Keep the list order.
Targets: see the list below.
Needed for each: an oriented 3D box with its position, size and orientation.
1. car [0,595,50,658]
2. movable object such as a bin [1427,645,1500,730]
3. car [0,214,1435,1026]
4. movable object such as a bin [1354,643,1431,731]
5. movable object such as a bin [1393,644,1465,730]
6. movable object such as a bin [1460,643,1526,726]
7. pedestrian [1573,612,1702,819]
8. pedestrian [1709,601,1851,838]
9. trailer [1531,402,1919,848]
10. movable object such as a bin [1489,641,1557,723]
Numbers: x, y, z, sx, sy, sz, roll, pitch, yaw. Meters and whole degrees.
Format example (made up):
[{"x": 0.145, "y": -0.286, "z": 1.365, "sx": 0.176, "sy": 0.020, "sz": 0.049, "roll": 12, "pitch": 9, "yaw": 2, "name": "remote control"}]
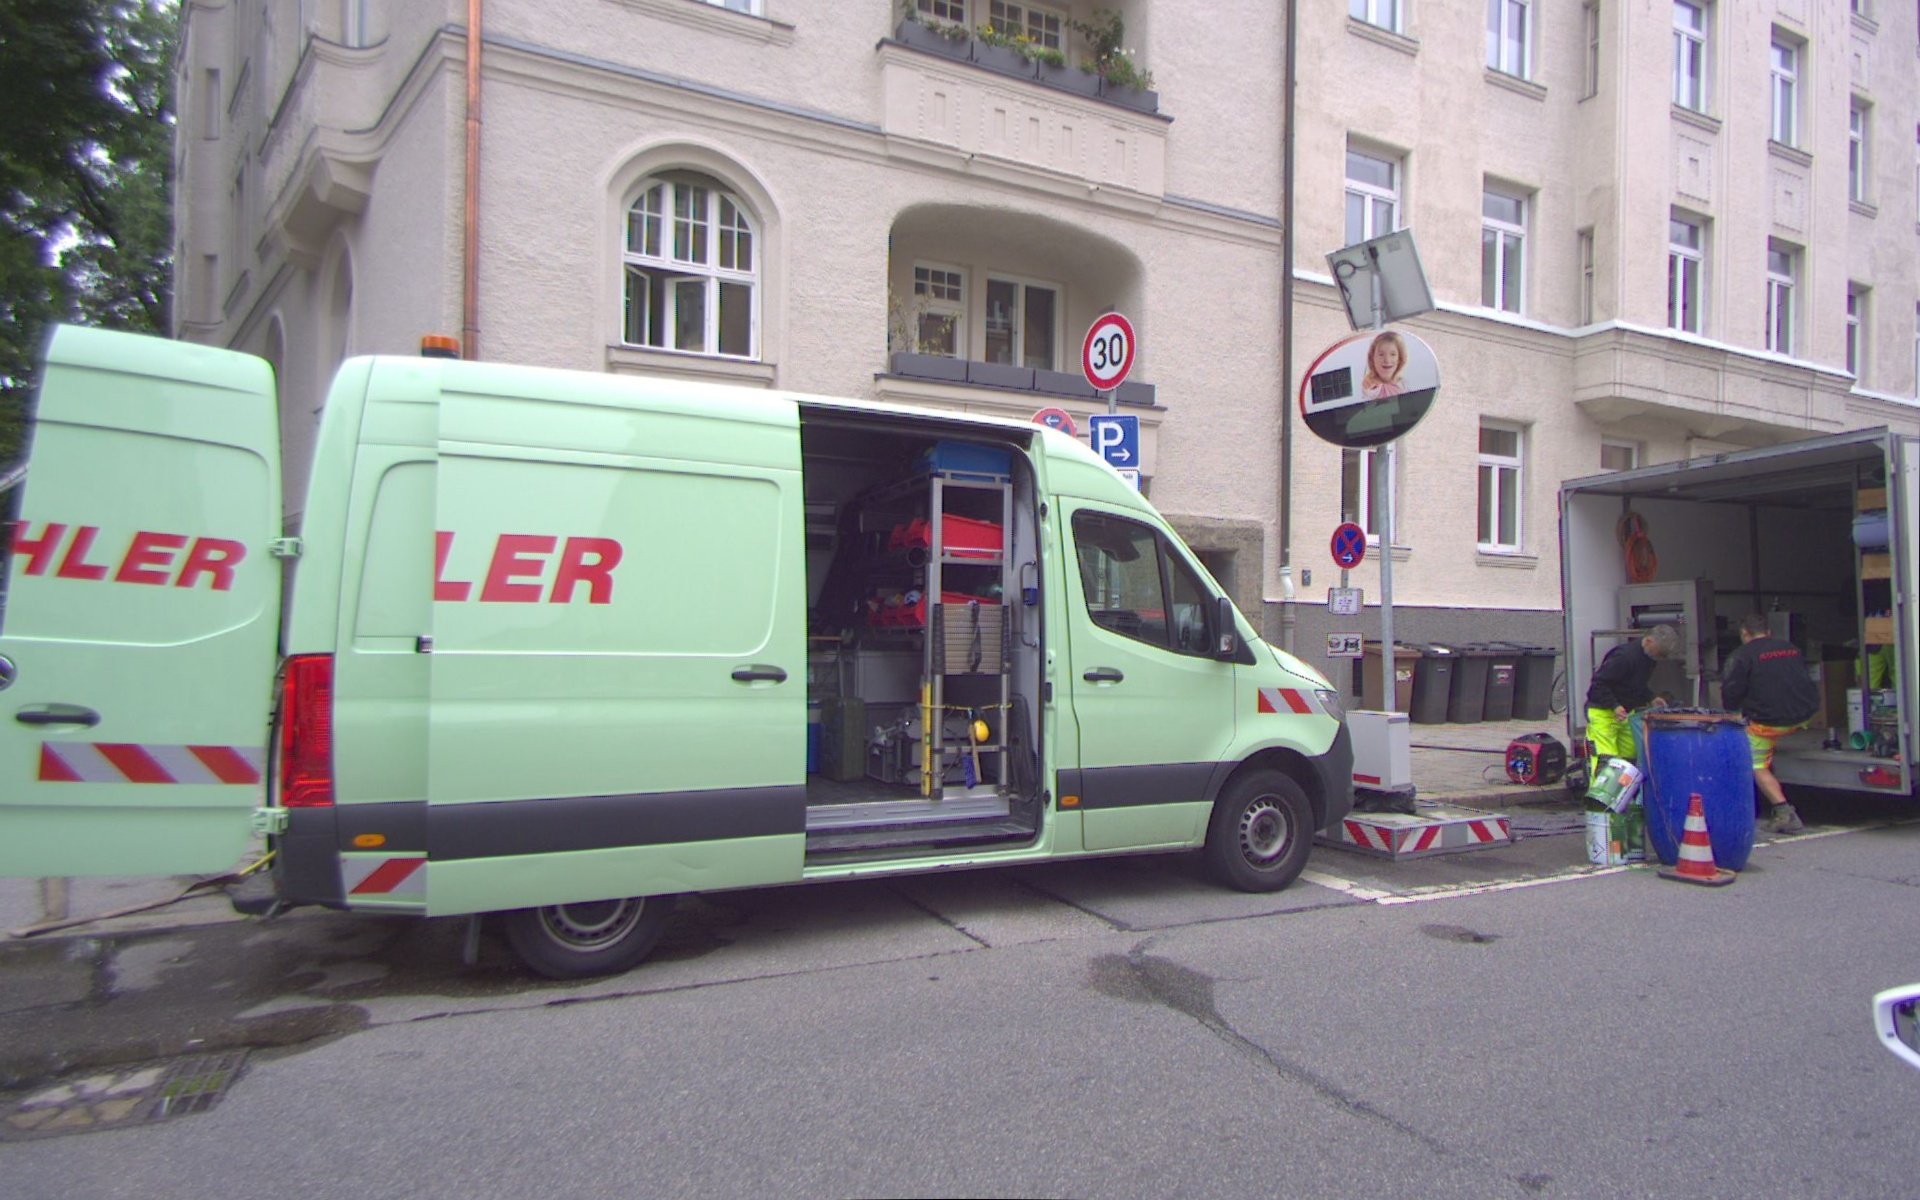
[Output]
[{"x": -26.909, "y": 0.696, "z": 26.452, "sx": 1.636, "sy": 1.625, "sz": 4.196, "roll": 3, "pitch": 1, "yaw": 40, "name": "car"}, {"x": 7.067, "y": 1.206, "z": 14.102, "sx": 0.629, "sy": 1.143, "sz": 0.675, "roll": 1, "pitch": -2, "yaw": -22, "name": "movable object such as a bin"}, {"x": -0.672, "y": 0.129, "z": 5.516, "sx": 6.701, "sy": 2.606, "sz": 2.135, "roll": 1, "pitch": -1, "yaw": -25, "name": "car"}, {"x": 5.861, "y": 1.168, "z": 13.614, "sx": 0.720, "sy": 1.143, "sz": 0.647, "roll": 1, "pitch": -2, "yaw": -22, "name": "movable object such as a bin"}, {"x": 6.481, "y": 1.188, "z": 13.888, "sx": 0.629, "sy": 1.143, "sz": 0.647, "roll": 1, "pitch": -2, "yaw": -22, "name": "movable object such as a bin"}, {"x": 7.601, "y": 1.187, "z": 14.335, "sx": 0.546, "sy": 1.143, "sz": 0.647, "roll": 1, "pitch": -2, "yaw": -22, "name": "movable object such as a bin"}, {"x": 5.574, "y": 0.906, "z": 8.273, "sx": 0.632, "sy": 1.601, "sz": 0.754, "roll": 2, "pitch": -2, "yaw": -42, "name": "pedestrian"}, {"x": 6.123, "y": 0.846, "z": 7.508, "sx": 0.633, "sy": 1.652, "sz": 0.754, "roll": 2, "pitch": -2, "yaw": -44, "name": "pedestrian"}, {"x": 9.350, "y": 0.275, "z": 9.520, "sx": 7.491, "sy": 3.007, "sz": 2.799, "roll": 0, "pitch": -4, "yaw": -23, "name": "trailer"}, {"x": 8.133, "y": 1.174, "z": 14.524, "sx": 0.546, "sy": 1.143, "sz": 0.671, "roll": 1, "pitch": -2, "yaw": -22, "name": "movable object such as a bin"}]
